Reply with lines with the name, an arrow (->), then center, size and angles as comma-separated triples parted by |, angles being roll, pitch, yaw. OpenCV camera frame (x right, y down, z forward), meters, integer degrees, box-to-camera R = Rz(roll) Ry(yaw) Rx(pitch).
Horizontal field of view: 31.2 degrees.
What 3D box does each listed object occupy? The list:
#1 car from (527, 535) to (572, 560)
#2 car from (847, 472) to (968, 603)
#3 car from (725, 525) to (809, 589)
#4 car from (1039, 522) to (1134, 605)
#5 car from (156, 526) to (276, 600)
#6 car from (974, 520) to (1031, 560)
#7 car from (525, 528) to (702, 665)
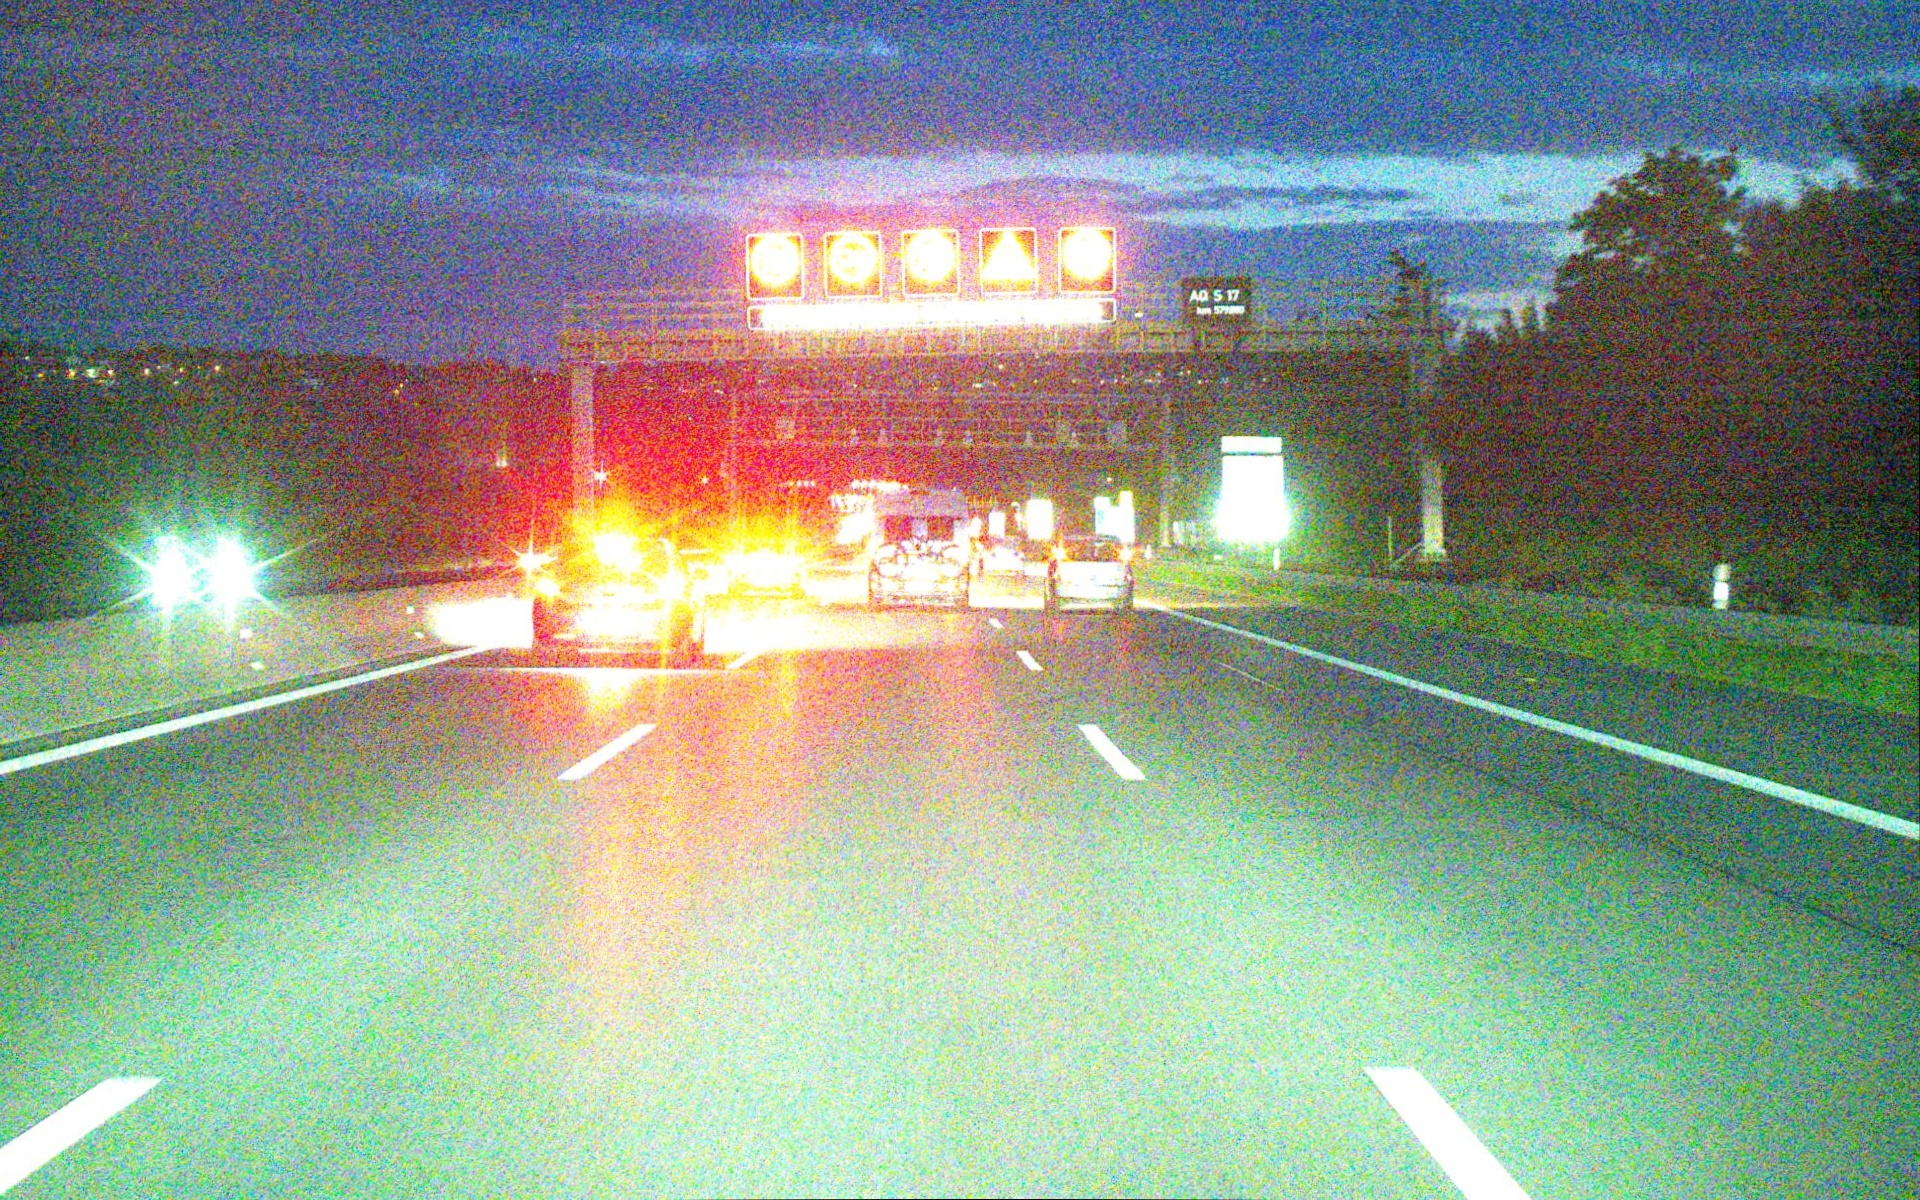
car -> -21.927, -2.792, 183.853 | 1.903, 1.278, 4.350 | -1, 1, 0
car -> -1.049, -1.299, 70.309 | 2.351, 2.526, 5.701 | -1, 1, 0
car -> -4.555, -1.034, 81.612 | 1.744, 1.435, 4.368 | -1, 1, 0
car -> 2.519, -0.752, 69.370 | 1.646, 1.591, 4.510 | 0, 1, -1
car -> -16.915, -0.858, 78.352 | 1.903, 1.612, 4.405 | -1, 1, -2
car -> 1.655, -2.380, 135.490 | 2.163, 1.558, 4.723 | 0, 1, 0
car -> -3.949, -0.076, 39.695 | 1.793, 1.464, 3.773 | 1, 1, -2
